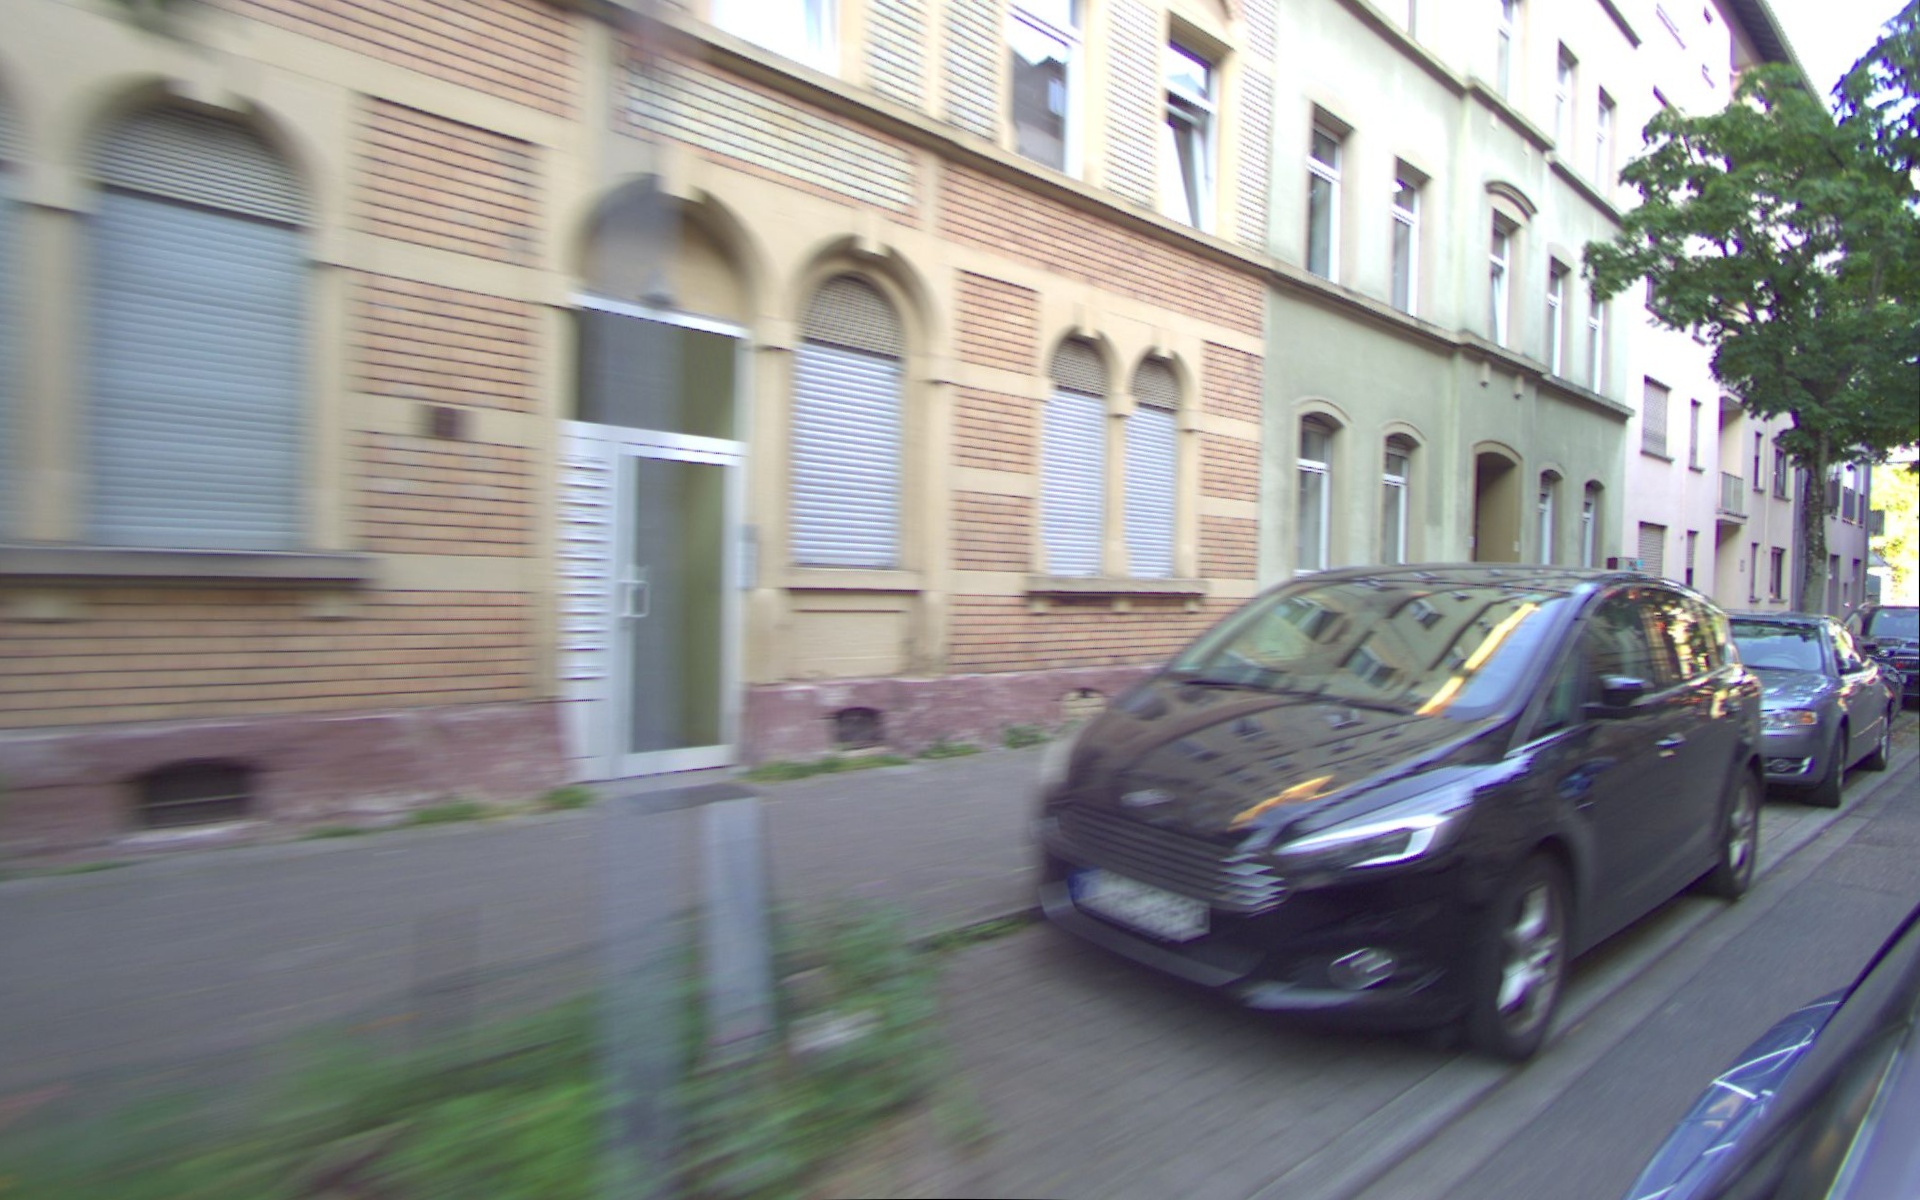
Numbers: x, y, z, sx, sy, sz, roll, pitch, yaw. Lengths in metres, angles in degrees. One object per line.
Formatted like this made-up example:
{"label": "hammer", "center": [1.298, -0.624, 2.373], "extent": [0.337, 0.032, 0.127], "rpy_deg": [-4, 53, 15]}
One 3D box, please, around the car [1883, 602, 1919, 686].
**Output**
{"label": "car", "center": [18.533, 0.791, 18.833], "extent": [3.576, 1.458, 1.655], "rpy_deg": [0, 1, -42]}

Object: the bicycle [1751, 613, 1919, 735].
{"label": "bicycle", "center": [10.069, 0.807, 11.348], "extent": [1.739, 1.239, 0.636], "rpy_deg": [2, 2, 23]}

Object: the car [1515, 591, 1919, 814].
{"label": "car", "center": [7.013, 0.670, 9.068], "extent": [4.781, 1.421, 2.050], "rpy_deg": [0, 2, -41]}

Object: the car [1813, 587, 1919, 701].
{"label": "car", "center": [14.739, 0.621, 15.587], "extent": [4.052, 1.558, 1.834], "rpy_deg": [0, 2, -41]}

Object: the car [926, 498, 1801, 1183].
{"label": "car", "center": [2.148, 0.560, 4.624], "extent": [4.376, 1.651, 1.942], "rpy_deg": [0, 1, -41]}

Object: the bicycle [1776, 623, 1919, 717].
{"label": "bicycle", "center": [11.853, 0.880, 13.336], "extent": [0.628, 1.033, 1.762], "rpy_deg": [1, 3, -6]}
